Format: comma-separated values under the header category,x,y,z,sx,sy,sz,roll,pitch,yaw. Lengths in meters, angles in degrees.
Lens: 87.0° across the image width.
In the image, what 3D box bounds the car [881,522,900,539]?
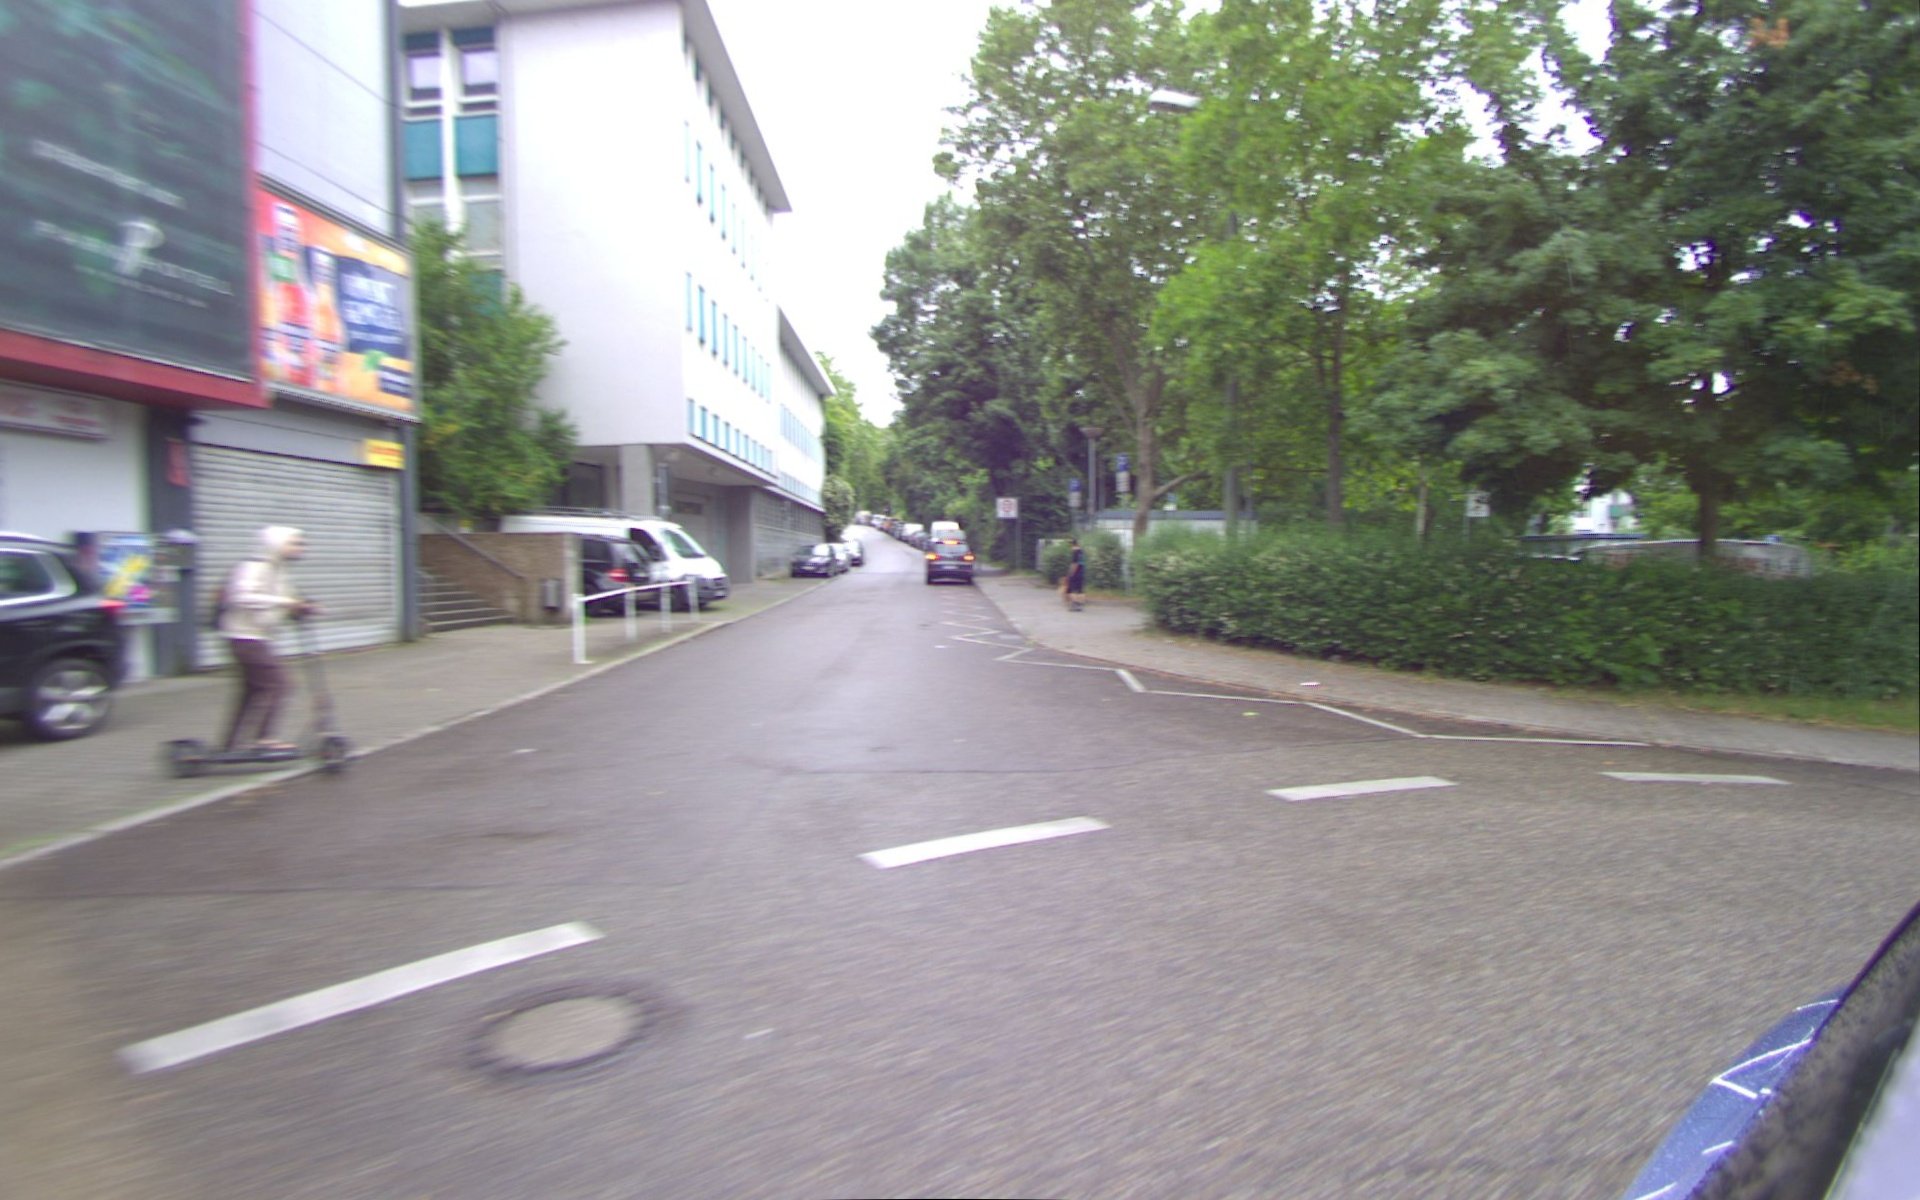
category,x,y,z,sx,sy,sz,roll,pitch,yaw
car,-8.312,-8.272,120.755,1.870,1.964,4.008,0,3,-8

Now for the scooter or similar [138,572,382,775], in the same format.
category,x,y,z,sx,sy,sz,roll,pitch,yaw
scooter or similar,-5.082,0.489,7.459,1.380,1.339,0.806,0,3,-27

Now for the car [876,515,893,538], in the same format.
category,x,y,z,sx,sy,sz,roll,pitch,yaw
car,-9.685,-9.313,129.113,1.870,2.823,4.008,0,3,-8

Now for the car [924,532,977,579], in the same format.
category,x,y,z,sx,sy,sz,roll,pitch,yaw
car,-0.321,-1.703,38.259,1.873,1.671,4.002,0,3,1

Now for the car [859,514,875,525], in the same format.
category,x,y,z,sx,sy,sz,roll,pitch,yaw
car,-14.580,-12.612,158.419,1.762,1.528,4.011,-1,3,-16

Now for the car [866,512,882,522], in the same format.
category,x,y,z,sx,sy,sz,roll,pitch,yaw
car,-13.079,-12.550,153.183,1.762,1.528,4.010,-1,3,-15

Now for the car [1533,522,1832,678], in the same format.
category,x,y,z,sx,sy,sz,roll,pitch,yaw
car,10.750,-0.074,15.515,1.608,1.984,4.209,3,2,3

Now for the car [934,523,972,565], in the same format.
category,x,y,z,sx,sy,sz,roll,pitch,yaw
car,-0.310,-2.882,52.179,1.873,2.100,4.002,0,3,1

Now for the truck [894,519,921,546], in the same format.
category,x,y,z,sx,sy,sz,roll,pitch,yaw
truck,-5.437,-6.950,104.562,2.008,2.660,4.010,-1,3,-15

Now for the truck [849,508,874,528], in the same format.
category,x,y,z,sx,sy,sz,roll,pitch,yaw
truck,-18.076,-15.021,185.497,2.937,3.489,8.021,-1,3,-17

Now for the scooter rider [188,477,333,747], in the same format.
category,x,y,z,sx,sy,sz,roll,pitch,yaw
scooter rider,-5.100,0.065,7.430,0.766,1.843,0.806,1,2,-27

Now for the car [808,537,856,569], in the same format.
category,x,y,z,sx,sy,sz,roll,pitch,yaw
car,-6.402,-2.406,51.136,1.873,1.520,4.002,0,3,1

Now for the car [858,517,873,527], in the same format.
category,x,y,z,sx,sy,sz,roll,pitch,yaw
car,-15.668,-12.897,167.372,1.762,1.528,4.011,-1,3,-16

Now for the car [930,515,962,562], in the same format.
category,x,y,z,sx,sy,sz,roll,pitch,yaw
car,-0.987,-4.496,74.561,2.181,3.322,5.082,0,3,1

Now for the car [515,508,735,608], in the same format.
category,x,y,z,sx,sy,sz,roll,pitch,yaw
car,-8.126,-1.059,24.736,4.812,2.237,1.880,2,3,10

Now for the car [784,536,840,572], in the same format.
category,x,y,z,sx,sy,sz,roll,pitch,yaw
car,-6.575,-2.080,45.330,1.873,1.520,4.002,0,3,1

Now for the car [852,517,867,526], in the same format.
category,x,y,z,sx,sy,sz,roll,pitch,yaw
car,-17.122,-13.408,172.773,1.762,1.528,4.011,-1,3,-16

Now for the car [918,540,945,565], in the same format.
category,x,y,z,sx,sy,sz,roll,pitch,yaw
car,-2.372,-3.920,83.114,1.871,2.059,4.007,0,3,-6

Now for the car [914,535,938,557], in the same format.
category,x,y,z,sx,sy,sz,roll,pitch,yaw
car,-3.115,-4.886,91.124,1.871,1.964,4.007,0,3,-6

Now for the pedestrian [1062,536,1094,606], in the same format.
category,x,y,z,sx,sy,sz,roll,pitch,yaw
pedestrian,2.711,-0.669,23.257,0.691,1.586,0.622,0,3,3

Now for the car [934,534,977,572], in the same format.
category,x,y,z,sx,sy,sz,roll,pitch,yaw
car,-0.165,-2.183,46.485,1.873,1.671,4.002,0,3,1

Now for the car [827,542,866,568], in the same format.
category,x,y,z,sx,sy,sz,roll,pitch,yaw
car,-6.795,-2.737,60.807,1.873,1.520,4.002,0,3,1

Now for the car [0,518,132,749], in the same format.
category,x,y,z,sx,sy,sz,roll,pitch,yaw
car,-8.234,0.282,6.785,1.899,1.732,3.997,1,3,5

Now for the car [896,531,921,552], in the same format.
category,x,y,z,sx,sy,sz,roll,pitch,yaw
car,-4.972,-5.567,97.105,1.869,1.964,4.010,0,3,-11

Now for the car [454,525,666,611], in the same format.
category,x,y,z,sx,sy,sz,roll,pitch,yaw
car,-8.711,-0.738,22.187,3.935,1.713,1.880,2,4,9

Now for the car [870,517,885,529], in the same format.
category,x,y,z,sx,sy,sz,roll,pitch,yaw
car,-11.096,-10.356,136.079,1.763,1.528,4.009,0,3,-9

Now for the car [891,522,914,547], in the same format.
category,x,y,z,sx,sy,sz,roll,pitch,yaw
car,-6.285,-7.089,110.084,1.754,2.660,4.010,-1,3,-14
